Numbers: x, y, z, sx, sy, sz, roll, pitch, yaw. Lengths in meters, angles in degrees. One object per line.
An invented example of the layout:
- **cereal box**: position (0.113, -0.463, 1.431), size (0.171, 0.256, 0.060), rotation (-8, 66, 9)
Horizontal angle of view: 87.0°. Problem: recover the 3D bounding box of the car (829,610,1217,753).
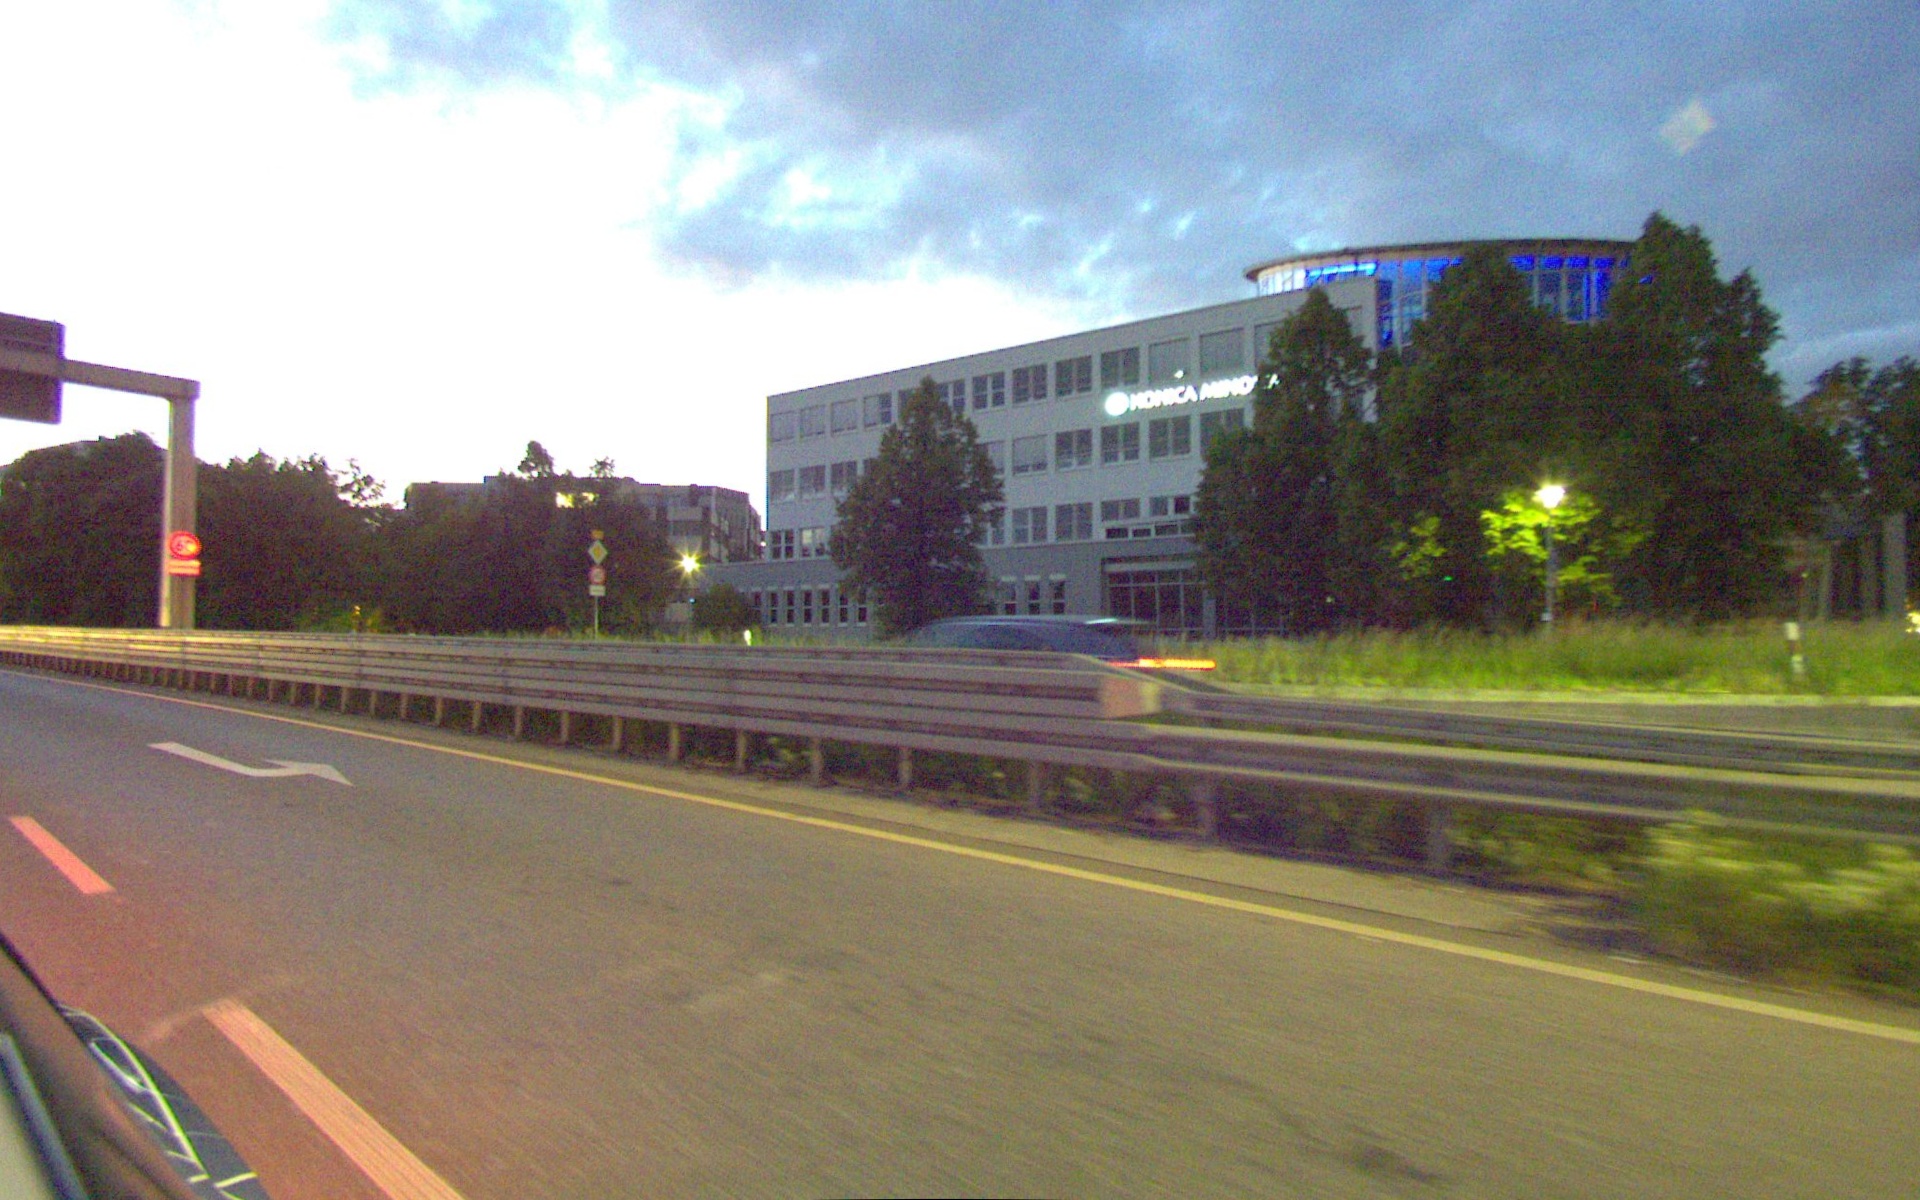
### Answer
- **car**: position (0.657, 0.898, 12.847), size (4.678, 1.493, 1.973), rotation (-1, -1, 40)
